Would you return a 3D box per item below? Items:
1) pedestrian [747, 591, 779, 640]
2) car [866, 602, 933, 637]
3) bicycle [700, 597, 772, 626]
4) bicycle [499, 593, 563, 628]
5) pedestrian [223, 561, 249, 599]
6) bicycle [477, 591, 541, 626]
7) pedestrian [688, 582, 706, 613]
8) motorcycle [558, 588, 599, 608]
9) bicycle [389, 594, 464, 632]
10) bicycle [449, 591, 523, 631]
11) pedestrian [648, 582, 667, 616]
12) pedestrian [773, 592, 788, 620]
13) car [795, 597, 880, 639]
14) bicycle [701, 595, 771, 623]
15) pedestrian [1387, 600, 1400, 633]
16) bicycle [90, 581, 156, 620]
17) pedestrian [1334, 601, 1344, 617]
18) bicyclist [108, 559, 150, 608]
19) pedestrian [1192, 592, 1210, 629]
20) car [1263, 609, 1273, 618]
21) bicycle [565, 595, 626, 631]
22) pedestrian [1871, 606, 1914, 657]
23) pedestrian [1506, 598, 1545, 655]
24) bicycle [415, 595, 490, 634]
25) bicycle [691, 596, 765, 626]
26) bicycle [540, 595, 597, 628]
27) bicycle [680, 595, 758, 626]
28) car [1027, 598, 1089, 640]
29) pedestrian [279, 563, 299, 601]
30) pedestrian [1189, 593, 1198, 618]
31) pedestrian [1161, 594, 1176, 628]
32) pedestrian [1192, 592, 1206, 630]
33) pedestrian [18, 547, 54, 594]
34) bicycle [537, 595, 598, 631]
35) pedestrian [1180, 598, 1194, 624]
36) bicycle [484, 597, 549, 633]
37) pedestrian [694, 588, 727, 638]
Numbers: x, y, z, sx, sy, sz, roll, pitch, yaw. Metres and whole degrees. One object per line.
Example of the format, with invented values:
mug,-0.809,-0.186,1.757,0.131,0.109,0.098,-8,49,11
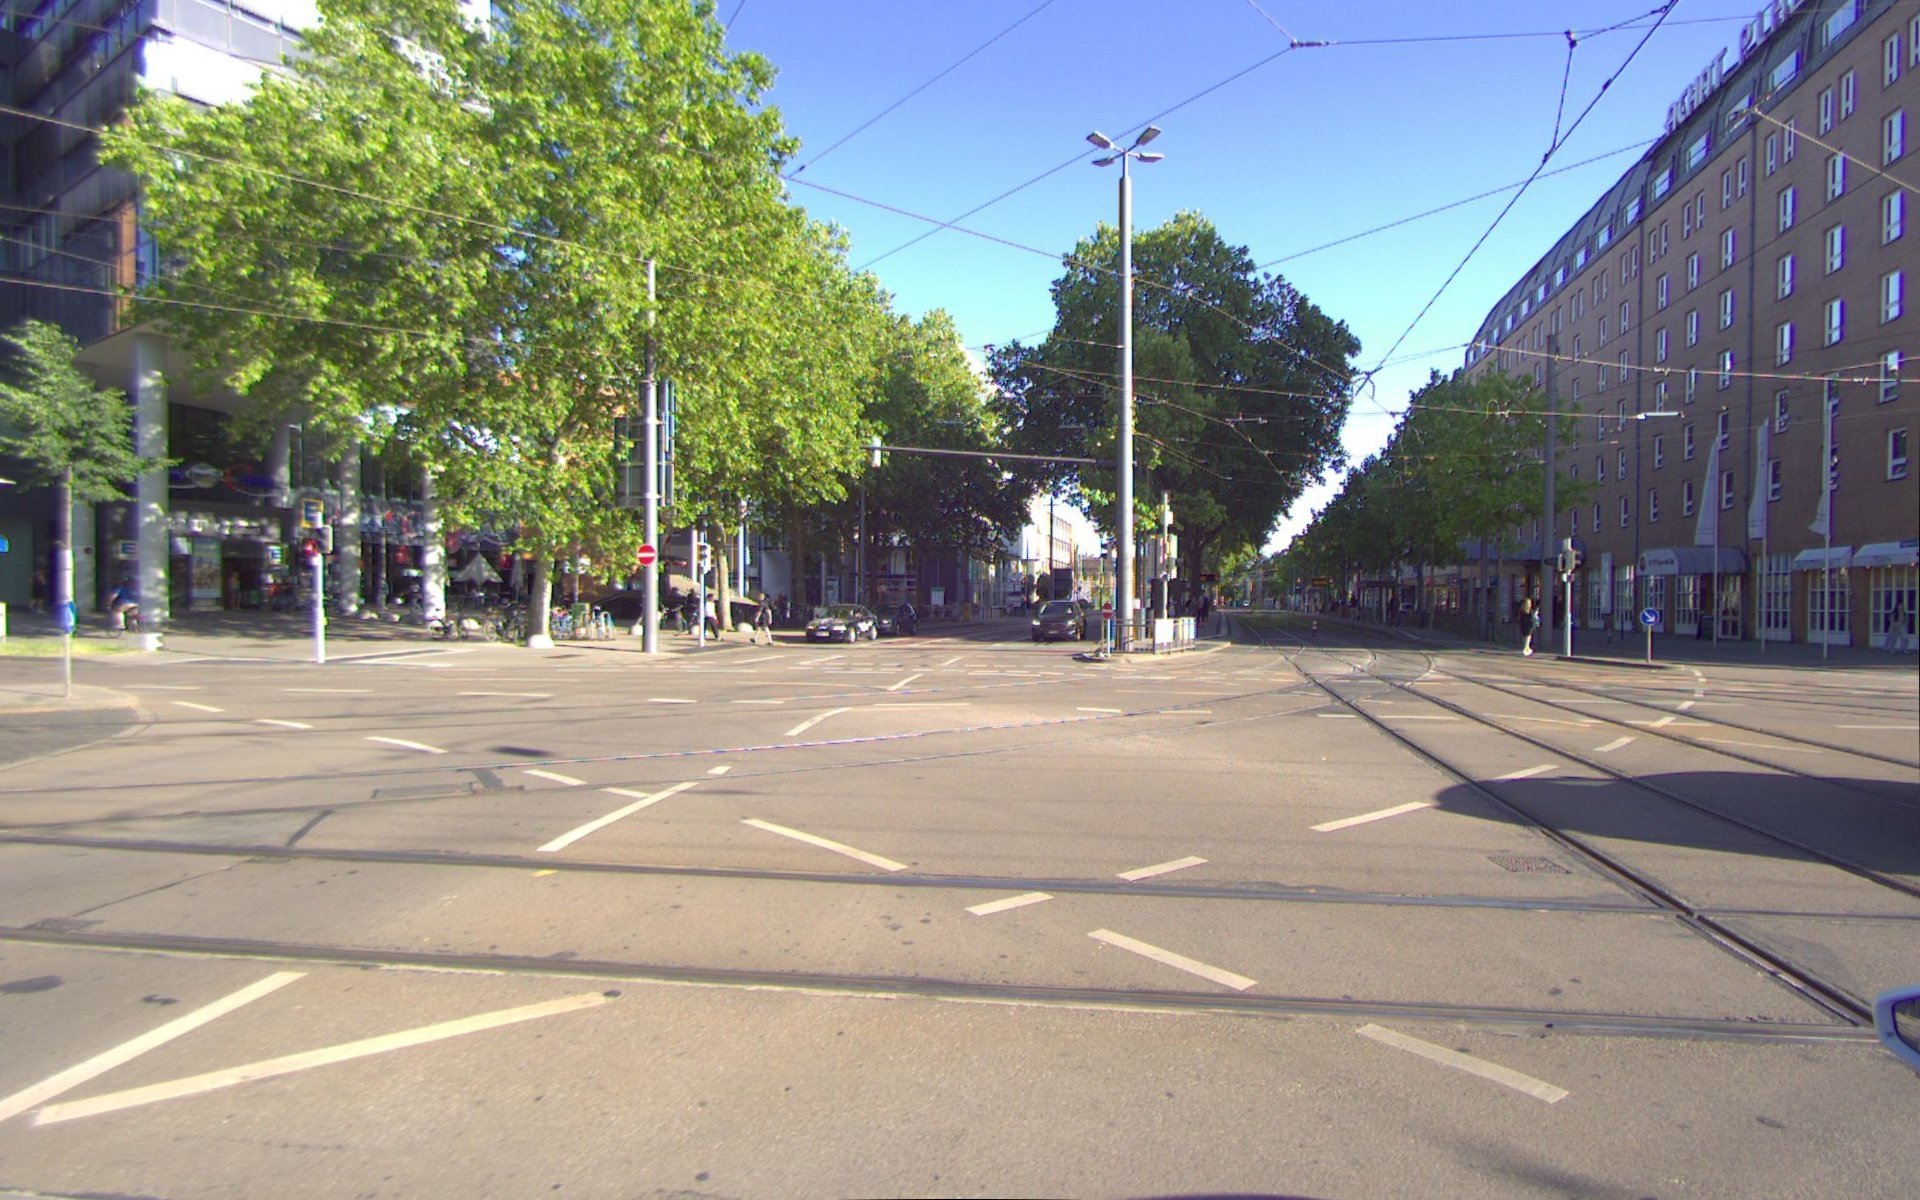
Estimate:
pedestrian,-6.819,0.536,34.739,0.815,1.702,0.716,-1,0,18
car,-2.594,0.826,43.831,1.638,1.425,4.001,1,0,17
bicycle,-11.005,0.544,49.490,3.295,1.371,1.035,1,0,2
bicycle,-14.203,0.337,33.361,0.587,1.143,2.367,0,0,16
pedestrian,-32.366,-0.888,44.916,0.692,1.674,0.698,1,1,22
bicycle,-15.393,0.294,34.357,0.587,1.143,2.367,0,0,16
pedestrian,-14.382,-0.161,54.952,0.684,1.674,0.706,1,1,15
motorcycle,-21.829,-0.128,57.423,2.299,1.072,0.831,1,1,26
bicycle,-16.825,0.390,31.761,0.587,1.143,2.367,0,0,17
bicycle,-14.383,0.326,30.577,0.587,1.143,2.367,0,0,17
pedestrian,-16.380,-0.061,54.436,0.686,1.791,0.705,1,1,28
pedestrian,-10.962,0.367,61.389,0.684,1.674,0.706,1,1,15
car,-4.467,0.646,37.275,1.638,1.425,4.001,1,0,17
bicycle,-11.351,0.465,51.045,3.295,1.371,1.035,1,0,2
pedestrian,22.980,0.870,53.255,0.594,1.702,0.486,-1,0,15
bicycle,-25.766,0.011,30.928,1.814,1.152,0.694,1,0,17
pedestrian,35.090,0.812,93.042,0.710,1.464,0.627,1,1,11
bicyclist,-25.529,-0.496,30.851,0.739,1.480,0.694,1,0,17
pedestrian,12.272,0.541,51.183,0.739,1.853,0.585,0,1,-44
car,58.952,2.548,192.215,1.586,1.522,3.692,1,1,14
bicycle,-11.977,0.428,33.111,0.587,1.143,2.367,0,0,16
pedestrian,31.050,1.038,33.451,0.726,1.688,0.753,0,0,9
pedestrian,17.162,0.785,30.485,0.814,1.702,0.717,-1,0,9
bicycle,-15.542,0.430,30.832,0.587,1.143,2.367,0,0,17
bicycle,-11.069,0.515,47.971,3.295,1.371,1.035,1,0,2
bicycle,-13.965,0.415,35.895,0.587,1.143,2.367,0,0,16
bicycle,-11.022,0.478,45.942,3.295,1.371,1.035,1,0,2
car,3.682,0.701,37.179,1.638,1.433,4.002,1,0,15
pedestrian,-29.811,-0.803,44.629,0.698,1.674,0.692,1,1,-33
pedestrian,15.228,0.360,65.447,0.492,1.594,0.494,1,2,19
pedestrian,11.217,0.573,54.069,0.582,1.824,0.743,2,1,30
pedestrian,12.028,0.554,50.502,0.623,1.853,0.745,1,1,10
pedestrian,-34.927,-1.103,37.967,0.685,1.728,0.734,1,0,17
bicycle,-13.144,0.423,33.700,0.587,1.143,2.367,0,0,16
pedestrian,14.330,0.682,63.348,0.664,1.594,0.481,-1,3,-32
bicycle,-14.810,0.493,33.619,0.587,1.143,2.367,0,0,16
pedestrian,-8.491,0.439,34.158,0.815,1.702,0.716,-1,0,24
